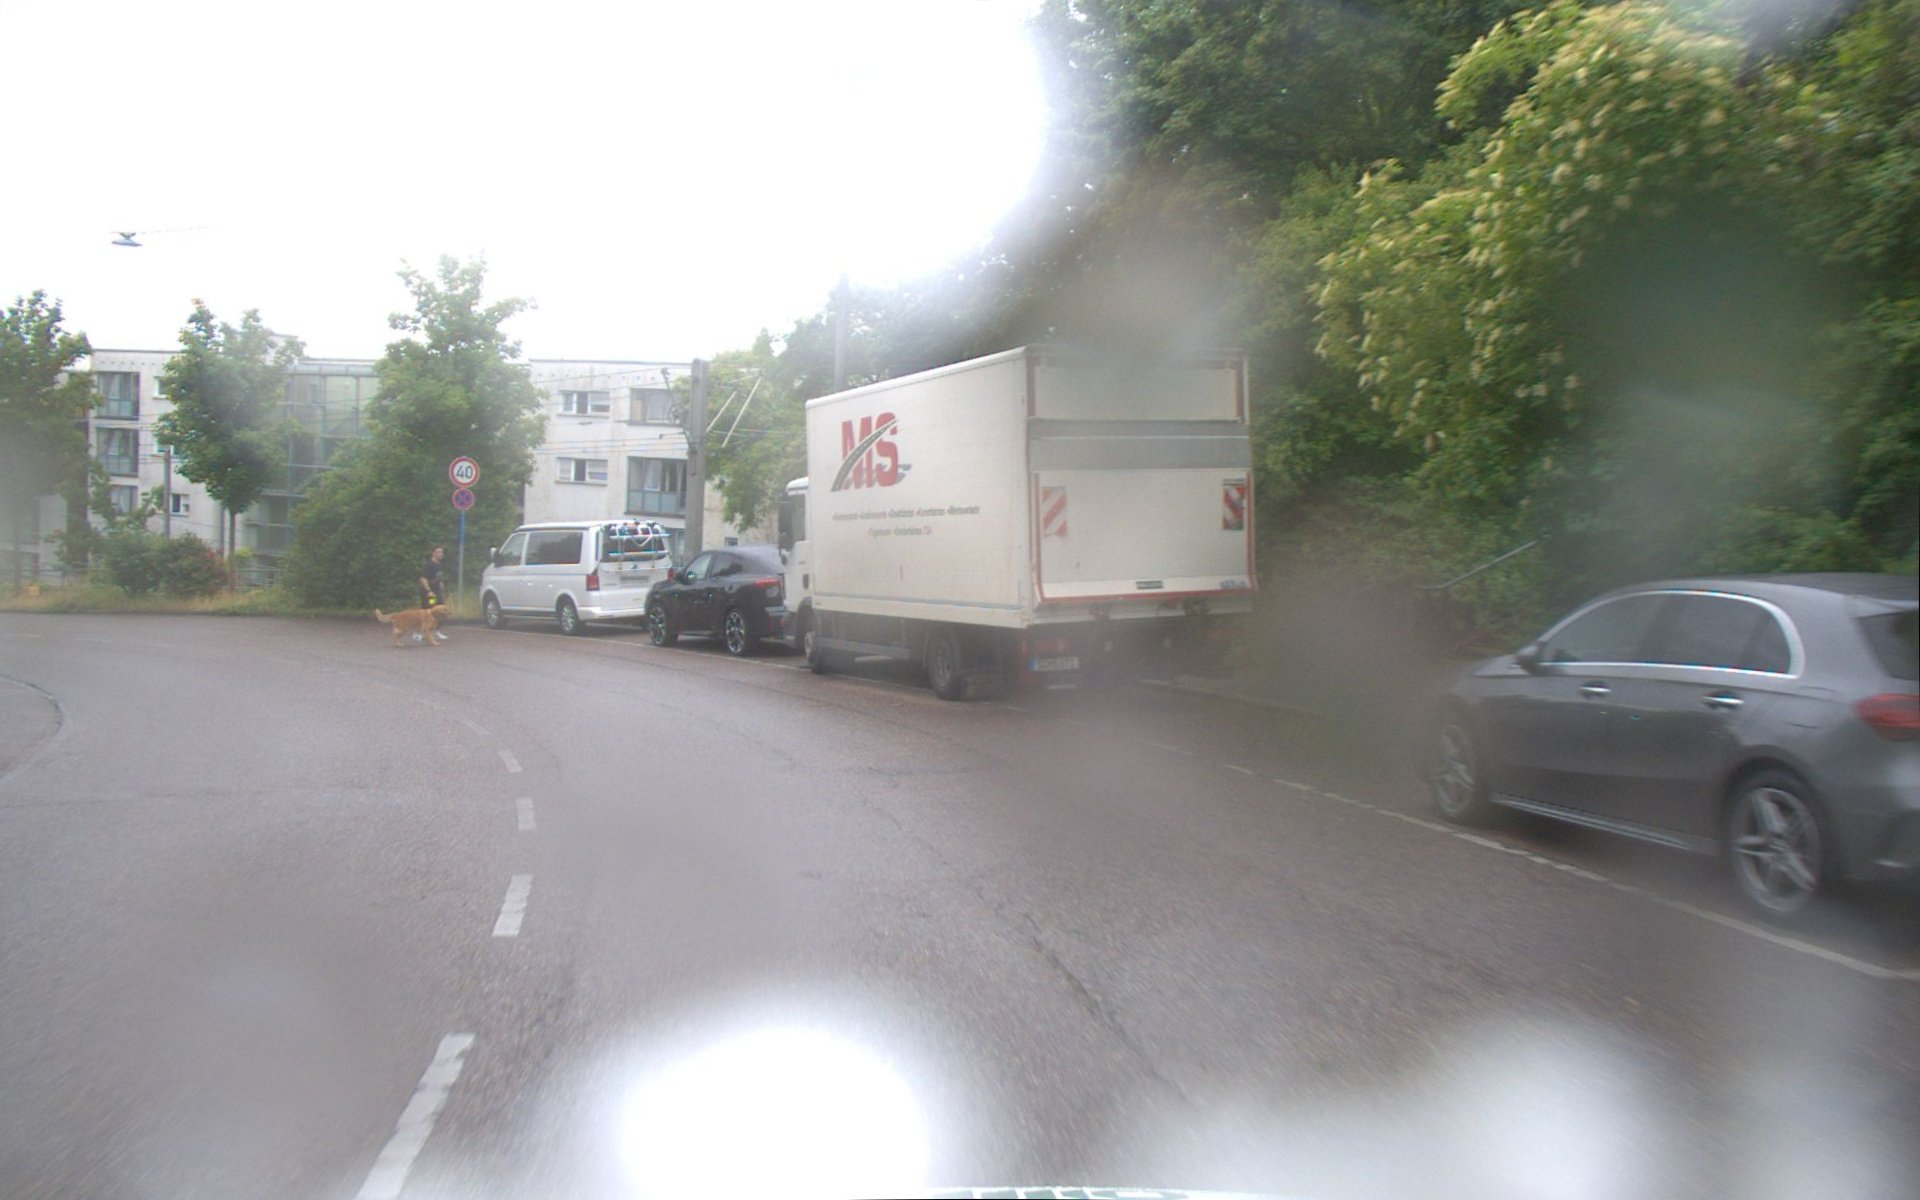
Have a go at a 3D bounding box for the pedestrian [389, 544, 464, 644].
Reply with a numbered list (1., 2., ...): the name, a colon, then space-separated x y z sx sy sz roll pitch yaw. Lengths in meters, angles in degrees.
1. pedestrian: -9.434 -0.112 29.285 0.902 1.690 0.806 -1 4 14

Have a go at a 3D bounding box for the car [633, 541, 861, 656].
1. car: -3.422 -0.083 25.941 1.705 1.582 4.222 -4 3 -36

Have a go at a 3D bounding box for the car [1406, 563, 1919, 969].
1. car: 3.983 0.572 8.322 1.690 1.469 4.113 -1 2 -12

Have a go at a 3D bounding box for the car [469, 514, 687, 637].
1. car: -7.190 -0.495 30.833 1.868 2.048 4.619 -6 5 -42

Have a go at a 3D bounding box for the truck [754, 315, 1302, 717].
1. truck: 0.286 -0.892 19.371 2.969 3.635 8.273 -3 2 -24
